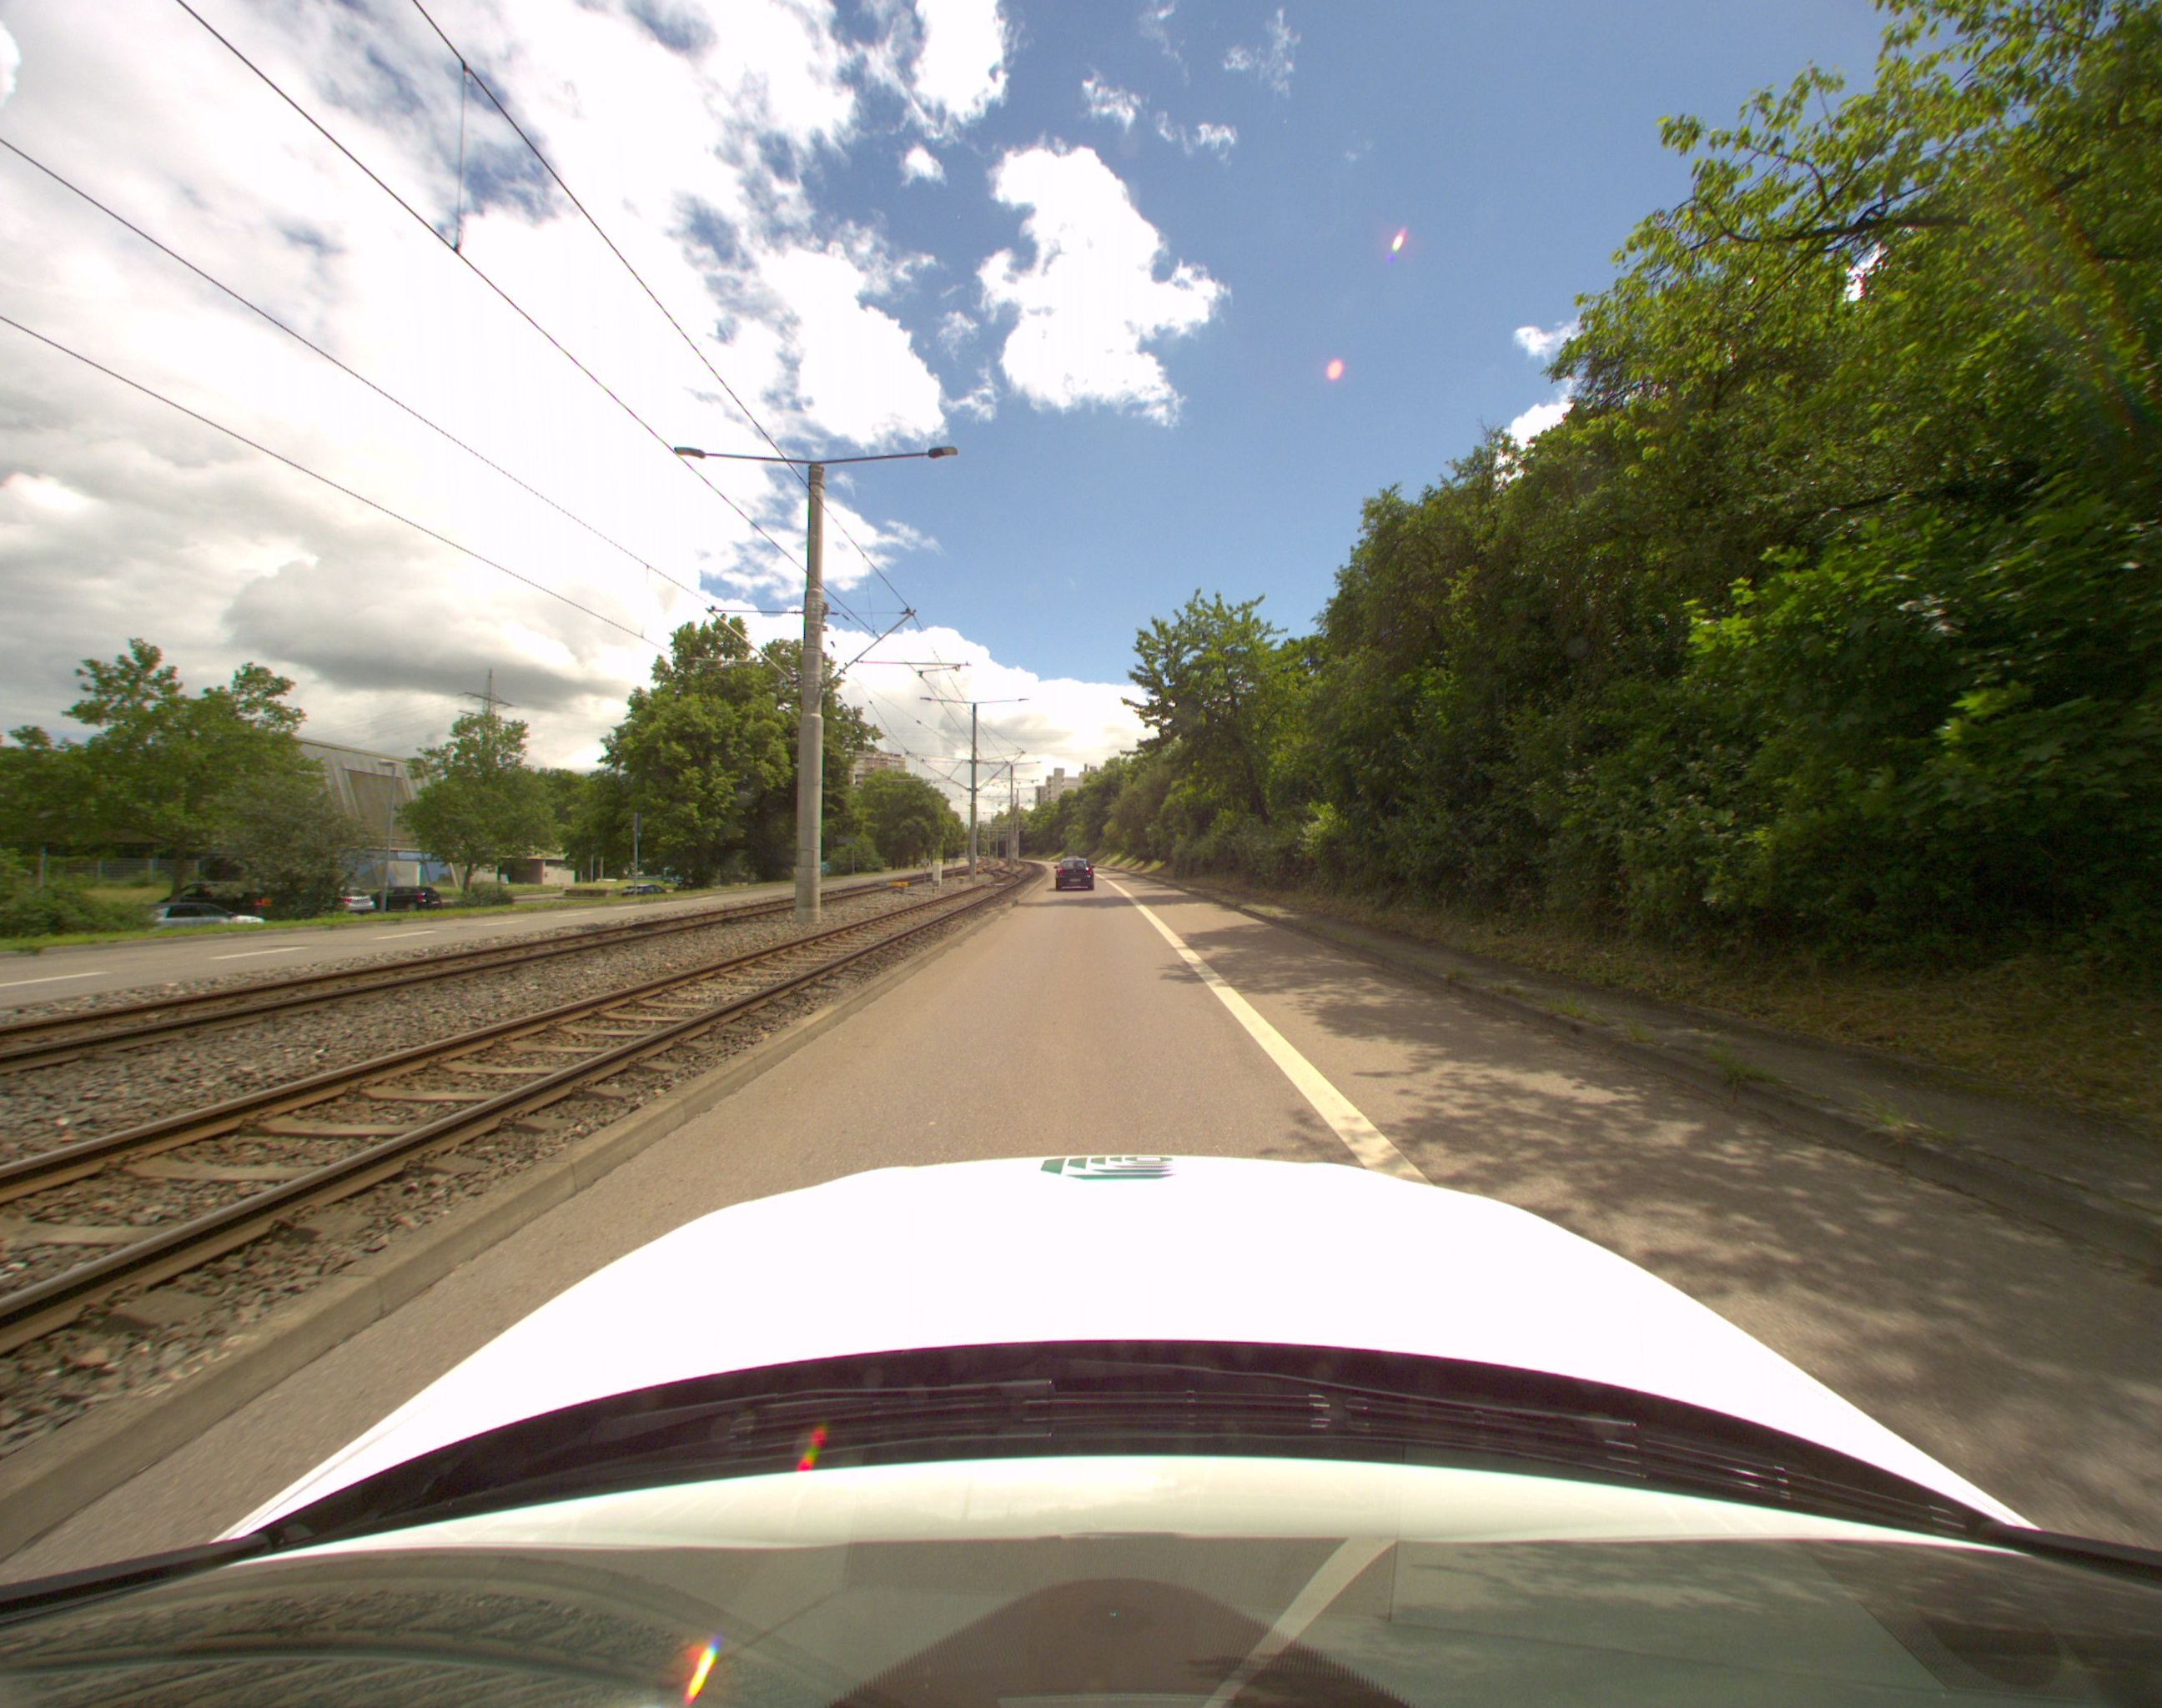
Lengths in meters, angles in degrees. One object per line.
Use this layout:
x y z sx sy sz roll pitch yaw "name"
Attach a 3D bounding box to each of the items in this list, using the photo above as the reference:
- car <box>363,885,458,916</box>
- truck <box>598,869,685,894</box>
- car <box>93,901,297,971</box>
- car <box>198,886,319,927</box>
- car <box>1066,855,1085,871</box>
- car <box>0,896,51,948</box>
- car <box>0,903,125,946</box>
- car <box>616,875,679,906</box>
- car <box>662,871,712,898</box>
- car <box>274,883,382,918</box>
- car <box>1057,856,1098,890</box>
-37.720 2.608 45.863 3.966 1.599 1.862 1 -1 7 "car"
-54.530 3.373 101.140 9.079 2.695 2.609 -2 0 -7 "truck"
-27.735 2.501 25.730 1.984 1.755 4.067 1 0 -1 "car"
-36.324 2.277 36.009 3.575 1.637 1.955 1 -1 8 "car"
-0.518 0.892 78.279 1.618 1.443 3.422 1 -1 2 "car"
-37.622 2.264 27.284 3.934 1.580 1.999 1 0 6 "car"
-37.396 2.513 29.225 4.061 1.252 1.999 1 0 6 "car"
-27.804 2.310 52.391 1.809 1.772 4.001 -1 0 1 "car"
-28.654 2.197 59.334 1.811 1.772 3.997 -1 0 -2 "car"
-38.093 2.335 41.229 3.964 1.599 1.863 1 -1 8 "car"
-0.136 0.855 37.096 1.702 1.460 3.960 1 -1 0 "car"
